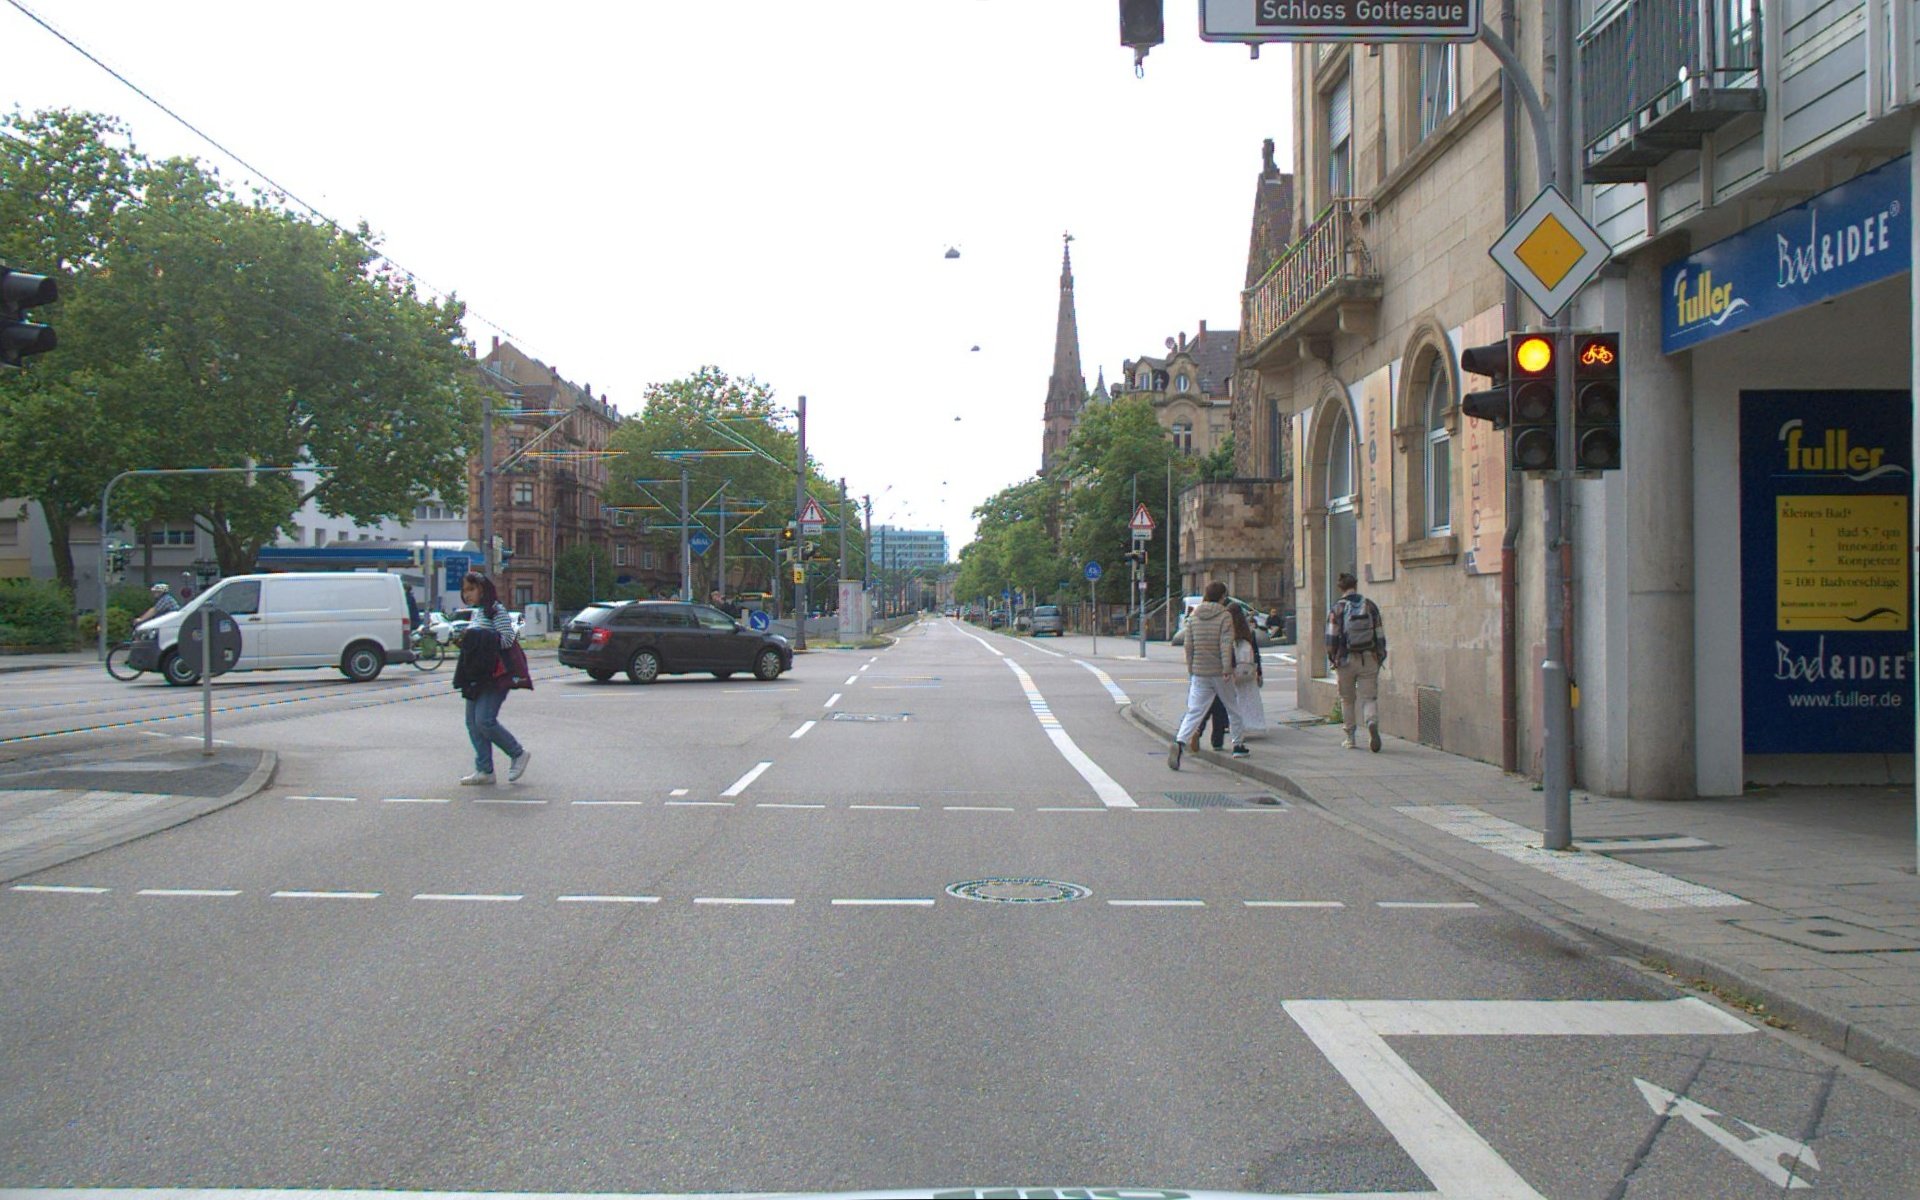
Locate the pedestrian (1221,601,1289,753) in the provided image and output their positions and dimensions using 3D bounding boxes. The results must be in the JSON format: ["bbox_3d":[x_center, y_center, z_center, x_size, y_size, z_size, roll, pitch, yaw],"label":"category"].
[{"bbox_3d":[3.254,0.834,18.293,0.685,1.621,0.831,1,-1,7],"label":"pedestrian"}]

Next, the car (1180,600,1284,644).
[{"bbox_3d":[10.679,0.855,65.050,3.721,1.629,2.000,1,-1,-1],"label":"car"}]

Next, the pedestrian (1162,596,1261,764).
[{"bbox_3d":[2.625,0.815,17.228,0.616,1.681,0.993,0,-1,36],"label":"pedestrian"}]

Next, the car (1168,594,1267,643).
[{"bbox_3d":[10.631,0.778,68.461,3.721,1.937,2.000,1,-1,-1],"label":"car"}]

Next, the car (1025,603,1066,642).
[{"bbox_3d":[4.637,1.212,90.206,1.953,2.049,3.999,1,-1,-1],"label":"car"}]

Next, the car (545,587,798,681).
[{"bbox_3d":[-5.264,0.617,30.496,4.301,1.614,1.785,2,-1,-41],"label":"car"}]

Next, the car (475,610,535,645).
[{"bbox_3d":[-21.645,1.295,78.799,1.856,1.585,3.835,1,-1,-1],"label":"car"}]

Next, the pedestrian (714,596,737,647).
[{"bbox_3d":[-7.294,0.662,51.412,0.640,1.564,0.465,1,-1,-5],"label":"pedestrian"}]

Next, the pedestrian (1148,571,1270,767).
[{"bbox_3d":[2.406,0.656,16.009,0.998,1.845,0.580,1,-1,-24],"label":"pedestrian"}]

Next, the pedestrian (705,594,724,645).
[{"bbox_3d":[-7.705,0.609,51.998,0.535,1.564,0.465,1,-1,-5],"label":"pedestrian"}]

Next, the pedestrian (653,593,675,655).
[{"bbox_3d":[-8.814,0.701,49.205,0.562,1.826,0.518,1,-1,-5],"label":"pedestrian"}]

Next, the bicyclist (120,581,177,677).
[{"bbox_3d":[-15.931,0.567,32.470,0.955,1.851,0.527,1,-1,-30],"label":"bicyclist"}]

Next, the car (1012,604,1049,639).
[{"bbox_3d":[4.209,1.285,99.709,1.953,2.049,3.999,1,-1,-1],"label":"car"}]

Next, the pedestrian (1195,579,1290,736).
[{"bbox_3d":[3.365,0.668,19.684,0.900,1.815,0.645,0,-1,37],"label":"pedestrian"}]

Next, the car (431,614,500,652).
[{"bbox_3d":[-21.494,1.411,72.018,1.856,1.585,3.835,1,-1,-1],"label":"car"}]

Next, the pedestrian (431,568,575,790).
[{"bbox_3d":[-3.657,0.611,13.252,0.659,1.709,0.864,0,-1,38],"label":"pedestrian"}]

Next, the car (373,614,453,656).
[{"bbox_3d":[-21.448,1.352,64.990,1.856,1.585,3.835,1,-1,-1],"label":"car"}]

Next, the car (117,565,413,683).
[{"bbox_3d":[-12.616,0.452,30.125,4.805,2.001,1.972,1,-1,-27],"label":"car"}]

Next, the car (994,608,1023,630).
[{"bbox_3d":[3.750,1.444,128.513,1.953,1.635,4.163,-2,0,-1],"label":"car"}]

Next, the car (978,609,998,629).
[{"bbox_3d":[2.916,1.970,172.458,1.953,2.049,3.999,1,-1,-1],"label":"car"}]

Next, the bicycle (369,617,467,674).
[{"bbox_3d":[-11.427,0.954,34.874,1.910,1.155,0.731,1,-1,-22],"label":"bicycle"}]

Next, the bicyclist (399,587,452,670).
[{"bbox_3d":[-11.296,0.605,34.949,1.023,1.713,0.641,1,-1,-21],"label":"bicyclist"}]

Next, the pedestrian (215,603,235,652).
[{"bbox_3d":[-27.219,1.027,61.252,0.366,1.815,0.552,1,-1,23],"label":"pedestrian"}]

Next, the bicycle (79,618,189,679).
[{"bbox_3d":[-16.138,0.946,32.341,1.880,1.162,0.622,1,-1,-30],"label":"bicycle"}]

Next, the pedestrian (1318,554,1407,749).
[{"bbox_3d":[3.918,0.495,16.152,0.613,1.809,1.135,-3,-1,6],"label":"pedestrian"}]
